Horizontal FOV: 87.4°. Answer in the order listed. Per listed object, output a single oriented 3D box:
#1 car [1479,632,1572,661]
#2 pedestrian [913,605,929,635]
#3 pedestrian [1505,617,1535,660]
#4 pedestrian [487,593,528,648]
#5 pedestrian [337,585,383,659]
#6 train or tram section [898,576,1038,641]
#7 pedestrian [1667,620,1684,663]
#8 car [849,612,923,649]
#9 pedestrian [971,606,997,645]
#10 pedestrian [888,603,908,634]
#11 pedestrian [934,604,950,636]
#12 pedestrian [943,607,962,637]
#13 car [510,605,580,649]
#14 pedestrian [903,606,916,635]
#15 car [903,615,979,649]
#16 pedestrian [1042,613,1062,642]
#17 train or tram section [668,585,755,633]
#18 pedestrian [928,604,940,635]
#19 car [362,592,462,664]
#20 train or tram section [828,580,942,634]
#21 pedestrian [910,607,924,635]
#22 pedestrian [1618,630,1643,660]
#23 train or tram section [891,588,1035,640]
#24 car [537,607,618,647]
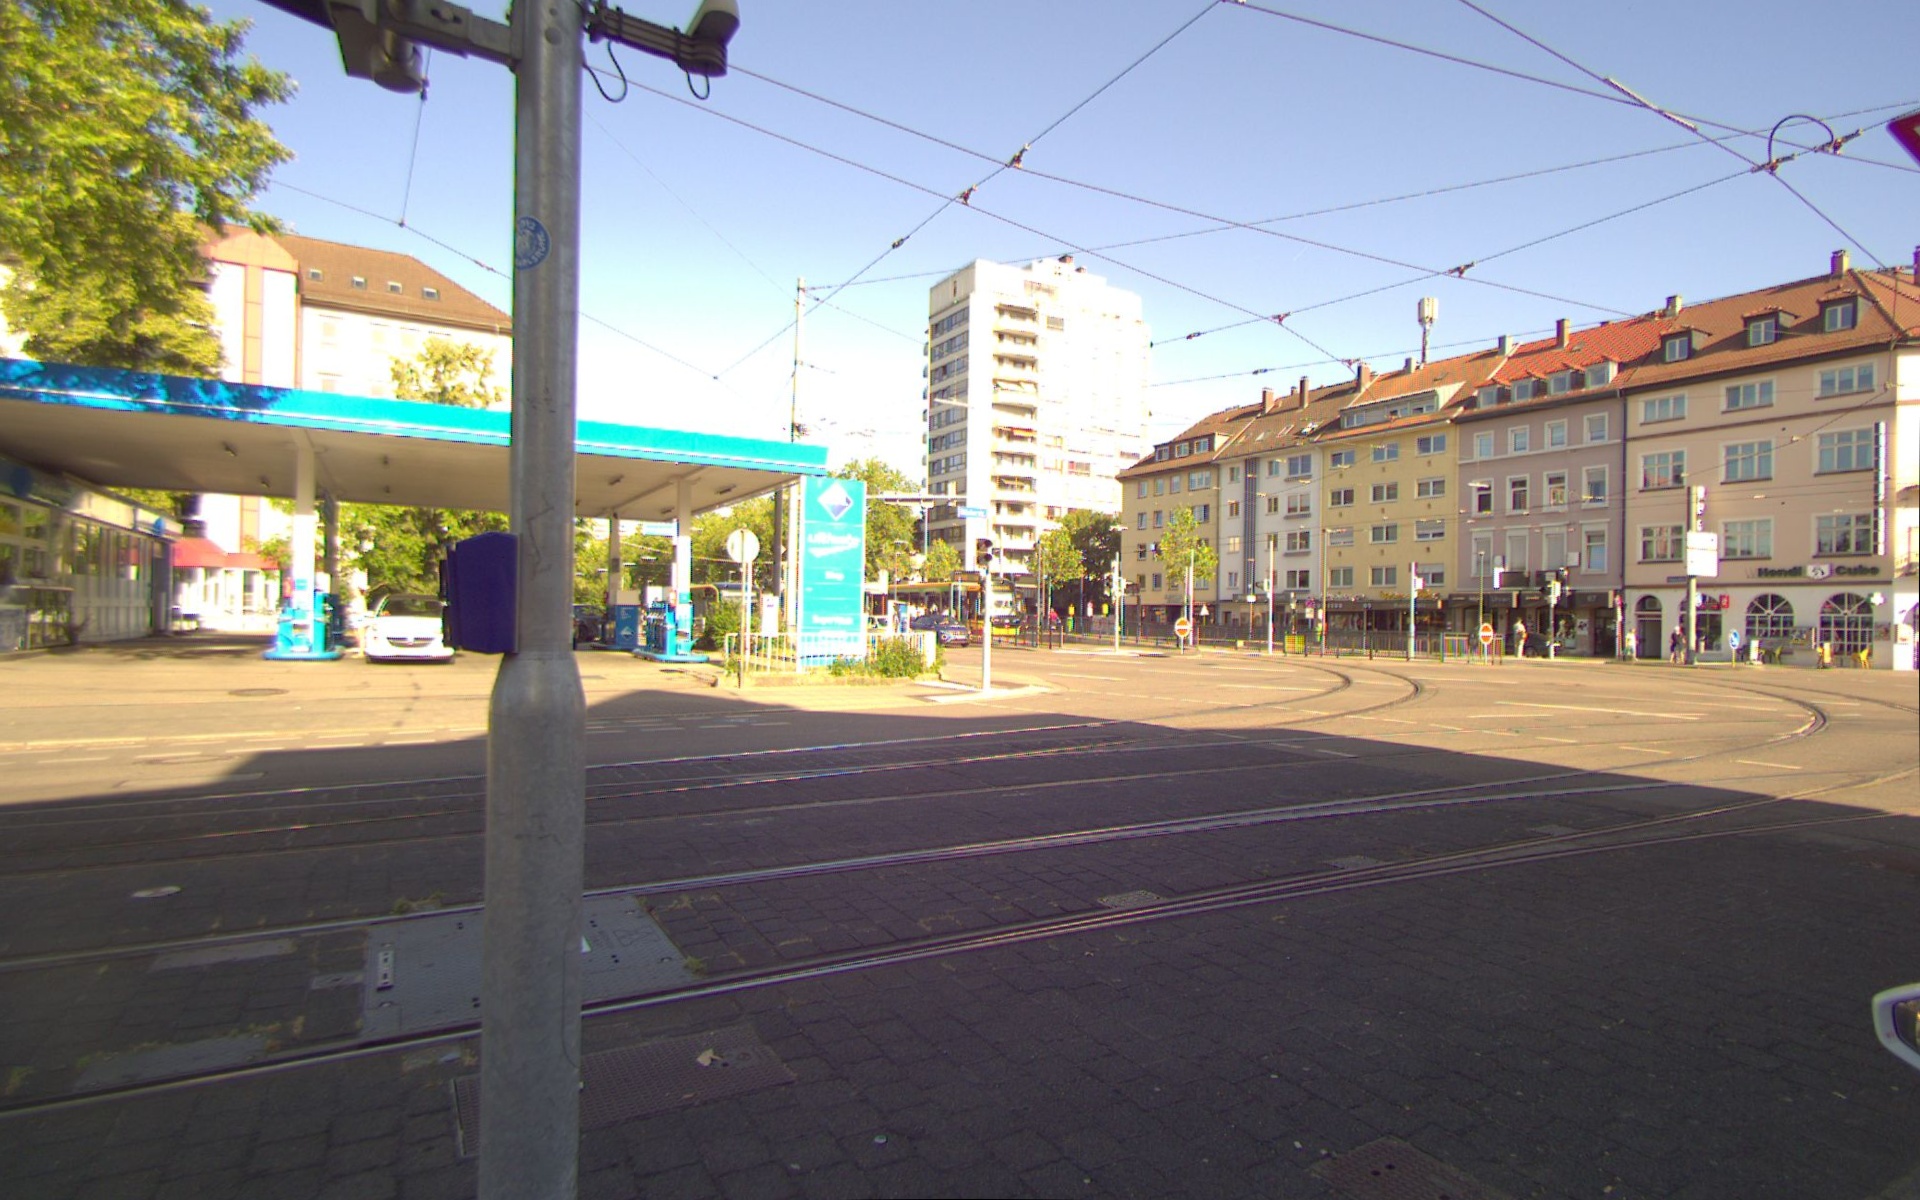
[{"bbox_3d":[30.776,2.494,54.718,1.980,1.483,3.962,1,-1,-34],"label":"car"},{"bbox_3d":[-2.230,1.155,57.448,0.770,1.721,0.695,1,-1,-20],"label":"pedestrian"},{"bbox_3d":[24.497,1.693,43.958,0.801,1.842,0.871,1,-1,-29],"label":"pedestrian"},{"bbox_3d":[-15.266,0.701,33.867,0.896,1.826,0.893,0,-1,34],"label":"pedestrian"},{"bbox_3d":[-13.806,0.507,23.132,0.801,1.652,0.643,1,-1,-24],"label":"pedestrian"},{"bbox_3d":[0.230,0.518,58.964,3.252,3.459,10.157,1,-1,-33],"label":"train or tram section"},{"bbox_3d":[34.211,1.981,48.025,0.498,2.040,0.507,1,-1,-27],"label":"pedestrian"},{"bbox_3d":[-3.505,1.394,46.806,1.976,1.615,3.970,1,-1,-29],"label":"car"},{"bbox_3d":[1.167,1.230,48.407,0.902,1.826,0.887,1,-1,-33],"label":"pedestrian"},{"bbox_3d":[-3.728,1.092,60.428,0.902,1.826,0.887,1,-1,-33],"label":"pedestrian"},{"bbox_3d":[-1.013,1.108,55.726,0.549,1.721,0.740,1,-1,-33],"label":"pedestrian"},{"bbox_3d":[-0.419,1.195,54.430,0.791,1.646,0.706,1,-1,-33],"label":"pedestrian"},{"bbox_3d":[-13.499,0.865,32.577,1.752,1.332,3.520,1,-1,-28],"label":"car"},{"bbox_3d":[-2.948,1.201,58.701,0.500,1.646,0.605,0,-1,30],"label":"pedestrian"},{"bbox_3d":[-0.957,1.492,48.349,1.937,1.475,4.077,1,0,-30],"label":"car"},{"bbox_3d":[6.635,1.953,72.364,0.942,2.040,1.214,1,-1,-25],"label":"pedestrian"},{"bbox_3d":[-15.031,0.454,60.038,2.233,2.627,10.398,2,0,-30],"label":"train or tram section"},{"bbox_3d":[-1.468,1.098,56.553,0.491,1.721,0.553,1,-1,-33],"label":"pedestrian"},{"bbox_3d":[-12.269,0.607,22.433,1.773,1.461,3.968,2,-1,-30],"label":"car"},{"bbox_3d":[-5.251,0.522,67.582,3.252,3.335,10.157,1,-1,-33],"label":"train or tram section"},{"bbox_3d":[-2.524,1.214,58.660,0.506,1.646,0.666,0,-1,30],"label":"pedestrian"},{"bbox_3d":[35.170,2.343,52.714,0.849,1.547,0.786,1,-1,-29],"label":"pedestrian"},{"bbox_3d":[-0.191,1.064,78.077,3.275,3.617,16.451,1,-1,-30],"label":"train or tram section"},{"bbox_3d":[-17.202,1.214,45.381,1.960,1.685,4.001,1,-1,2],"label":"car"}]
